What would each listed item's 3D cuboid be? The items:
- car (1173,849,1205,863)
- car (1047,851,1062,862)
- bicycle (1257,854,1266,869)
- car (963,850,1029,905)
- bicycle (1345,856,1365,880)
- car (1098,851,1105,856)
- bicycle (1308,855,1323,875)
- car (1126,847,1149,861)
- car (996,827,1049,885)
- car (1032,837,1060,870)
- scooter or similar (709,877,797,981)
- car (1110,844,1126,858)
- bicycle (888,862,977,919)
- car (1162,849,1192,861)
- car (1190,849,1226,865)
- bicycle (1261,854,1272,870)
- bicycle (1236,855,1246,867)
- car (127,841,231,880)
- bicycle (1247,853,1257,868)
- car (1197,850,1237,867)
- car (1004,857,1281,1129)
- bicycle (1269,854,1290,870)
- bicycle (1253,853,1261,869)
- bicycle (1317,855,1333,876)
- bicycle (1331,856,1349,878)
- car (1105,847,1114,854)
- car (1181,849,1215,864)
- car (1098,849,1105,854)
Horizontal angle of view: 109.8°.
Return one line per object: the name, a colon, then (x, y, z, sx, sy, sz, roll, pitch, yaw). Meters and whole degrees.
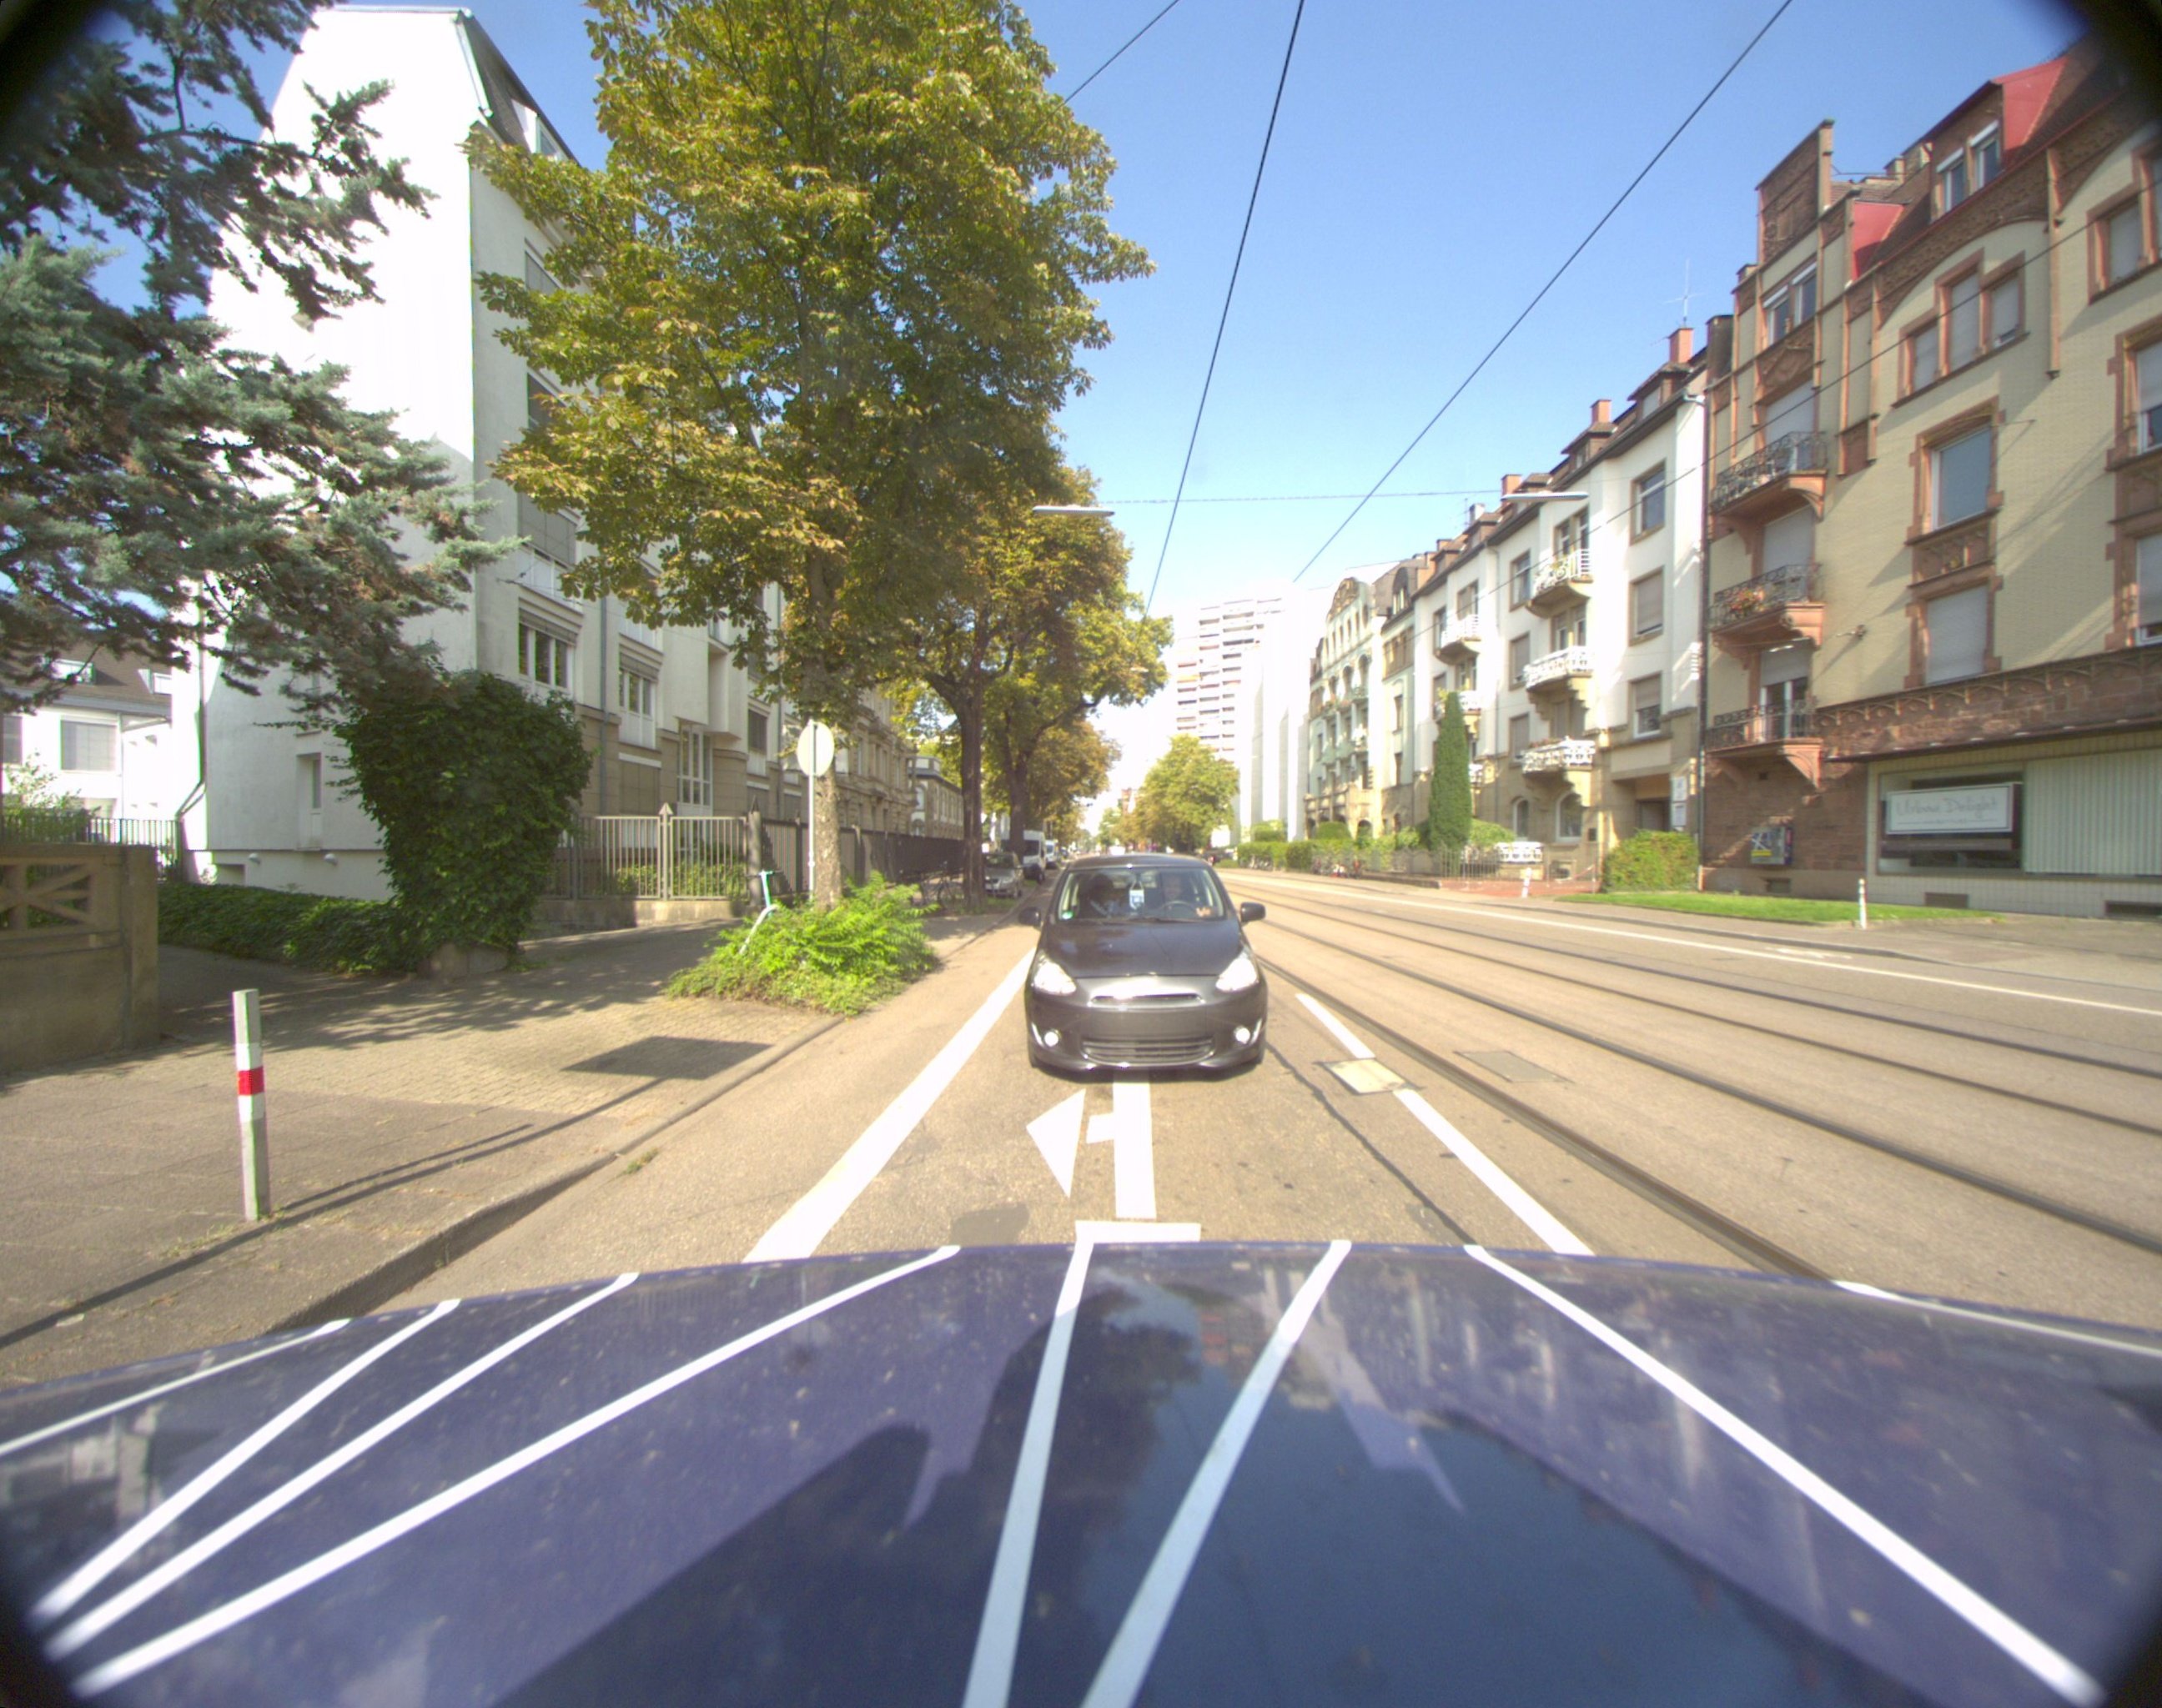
car: (12.301, 0.206, 86.302, 1.767, 1.518, 4.009, 1, 1, 41)
car: (-3.136, 0.305, 91.645, 1.757, 1.349, 3.787, 0, 0, -1)
bicycle: (12.926, 0.524, 54.430, 0.425, 1.081, 1.677, 0, 1, 9)
car: (-2.653, 0.681, 24.586, 1.611, 1.515, 4.356, 3, 1, 0)
bicycle: (12.972, 0.650, 36.017, 0.371, 1.081, 1.487, 0, 1, -1)
car: (5.664, -0.246, 210.984, 1.757, 1.349, 3.788, 0, 0, 1)
bicycle: (13.072, 0.599, 42.321, 0.371, 1.081, 1.355, 0, 1, -1)
car: (6.262, 0.001, 84.381, 1.877, 1.446, 4.543, 3, 0, -3)
car: (-2.678, 0.063, 36.315, 2.051, 2.484, 6.228, 1, 1, 0)
car: (-2.872, -0.078, 63.291, 1.998, 2.526, 5.867, 2, 1, 0)
scooter or similar: (-4.161, 0.922, 9.700, 0.559, 1.190, 1.034, 3, 1, 5)
car: (5.626, -0.496, 116.464, 1.999, 2.002, 4.857, 0, 0, -3)
bicycle: (-3.284, 0.811, 16.896, 1.846, 1.160, 0.503, 2, 5, -40)
car: (12.016, 0.104, 95.150, 1.767, 1.518, 4.009, 1, 1, 41)
car: (12.730, 0.307, 75.987, 1.767, 1.518, 4.009, 1, 1, 41)
bicycle: (12.786, 0.555, 52.334, 0.425, 1.081, 1.677, 0, 1, 4)
bicycle: (12.747, 0.556, 60.583, 0.425, 0.972, 1.770, 0, 1, -1)
car: (-38.662, 0.238, 32.577, 3.990, 1.557, 1.839, 0, 1, 24)
bicycle: (12.883, 0.488, 57.250, 0.425, 1.081, 1.676, 0, 1, 2)
car: (12.414, 0.393, 69.356, 1.767, 1.518, 4.009, 1, 1, 41)
car: (0.356, 0.830, 6.669, 1.611, 1.515, 4.356, -1, 1, 0)
bicycle: (13.411, 0.534, 51.331, 1.397, 1.081, 0.425, 0, 1, -18)
bicycle: (12.770, 0.506, 55.239, 0.425, 1.081, 1.677, 0, 1, 9)
bicycle: (13.031, 0.603, 40.551, 0.371, 1.081, 1.355, 0, 1, -1)
bicycle: (12.875, 0.629, 37.792, 0.371, 1.081, 1.355, 0, 1, -1)
car: (6.169, -0.725, 165.719, 1.701, 1.395, 4.645, -1, 1, -1)
car: (12.885, 0.256, 83.452, 1.767, 1.518, 4.009, 1, 1, 41)
car: (5.988, -0.748, 224.429, 1.757, 1.349, 3.787, 0, 0, -1)
